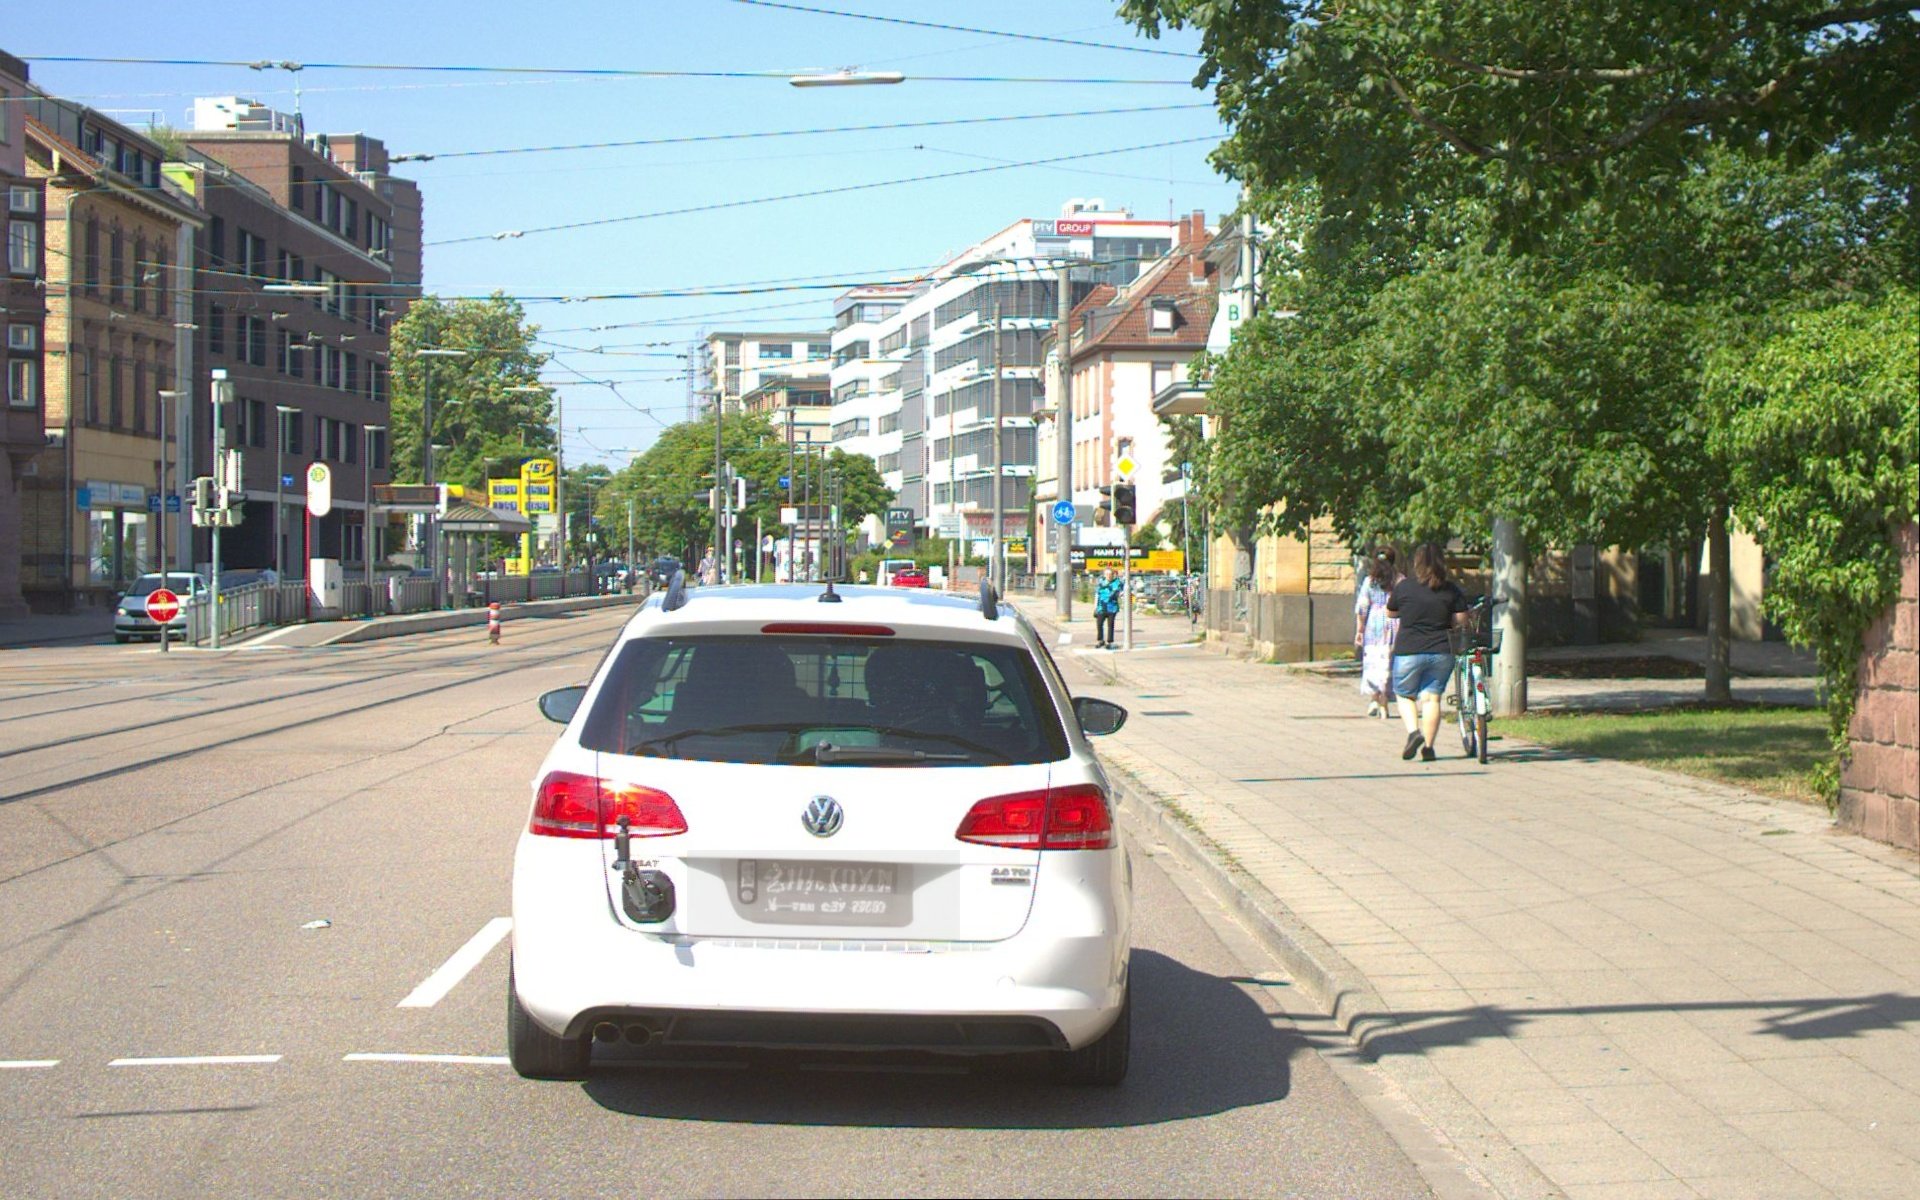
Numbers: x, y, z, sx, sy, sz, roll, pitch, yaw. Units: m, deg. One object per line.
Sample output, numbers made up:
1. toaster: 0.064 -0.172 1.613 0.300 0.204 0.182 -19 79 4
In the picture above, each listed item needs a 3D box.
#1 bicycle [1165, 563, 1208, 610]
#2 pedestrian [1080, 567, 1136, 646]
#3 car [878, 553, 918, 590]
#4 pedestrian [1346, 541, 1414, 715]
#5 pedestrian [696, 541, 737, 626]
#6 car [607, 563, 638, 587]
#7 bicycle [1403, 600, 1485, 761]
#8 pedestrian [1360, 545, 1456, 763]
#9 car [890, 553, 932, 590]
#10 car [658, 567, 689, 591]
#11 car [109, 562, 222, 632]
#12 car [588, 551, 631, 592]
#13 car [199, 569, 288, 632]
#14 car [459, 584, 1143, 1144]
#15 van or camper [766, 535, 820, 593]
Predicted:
1. bicycle: 5.500 -0.337 83.365 0.726 1.135 2.193 0 1 12
2. pedestrian: 2.841 0.115 65.852 0.857 1.505 0.781 0 0 23
3. car: -3.463 -1.588 191.286 1.993 2.007 4.001 0 1 -5
4. pedestrian: 4.093 0.268 33.456 0.650 1.676 0.707 0 0 7
5. pedestrian: -5.162 -0.348 72.914 0.826 1.803 0.833 0 0 0
6. car: -21.231 -1.593 216.435 1.667 1.461 3.773 0 1 -1
7. bicycle: 3.490 0.558 24.698 0.536 1.107 1.806 -1 0 9
8. pedestrian: 3.240 0.381 24.918 0.540 1.543 0.663 -2 1 -1
9. car: -2.650 -1.539 185.873 1.993 2.007 4.001 0 1 -5
10. car: -17.683 -1.325 212.217 1.667 1.461 3.773 0 1 -1
11. car: -17.022 -0.071 73.825 1.625 1.426 3.963 1 0 -2
12. car: -17.788 -1.421 174.533 1.993 2.007 4.000 -1 0 -4
13. car: -16.991 -0.007 81.654 1.572 1.454 3.815 0 1 -4
14. car: -0.418 0.668 10.739 1.753 1.413 3.853 0 1 0
15. van or camper: -9.265 -2.020 191.300 2.943 3.169 6.614 0 1 -2
